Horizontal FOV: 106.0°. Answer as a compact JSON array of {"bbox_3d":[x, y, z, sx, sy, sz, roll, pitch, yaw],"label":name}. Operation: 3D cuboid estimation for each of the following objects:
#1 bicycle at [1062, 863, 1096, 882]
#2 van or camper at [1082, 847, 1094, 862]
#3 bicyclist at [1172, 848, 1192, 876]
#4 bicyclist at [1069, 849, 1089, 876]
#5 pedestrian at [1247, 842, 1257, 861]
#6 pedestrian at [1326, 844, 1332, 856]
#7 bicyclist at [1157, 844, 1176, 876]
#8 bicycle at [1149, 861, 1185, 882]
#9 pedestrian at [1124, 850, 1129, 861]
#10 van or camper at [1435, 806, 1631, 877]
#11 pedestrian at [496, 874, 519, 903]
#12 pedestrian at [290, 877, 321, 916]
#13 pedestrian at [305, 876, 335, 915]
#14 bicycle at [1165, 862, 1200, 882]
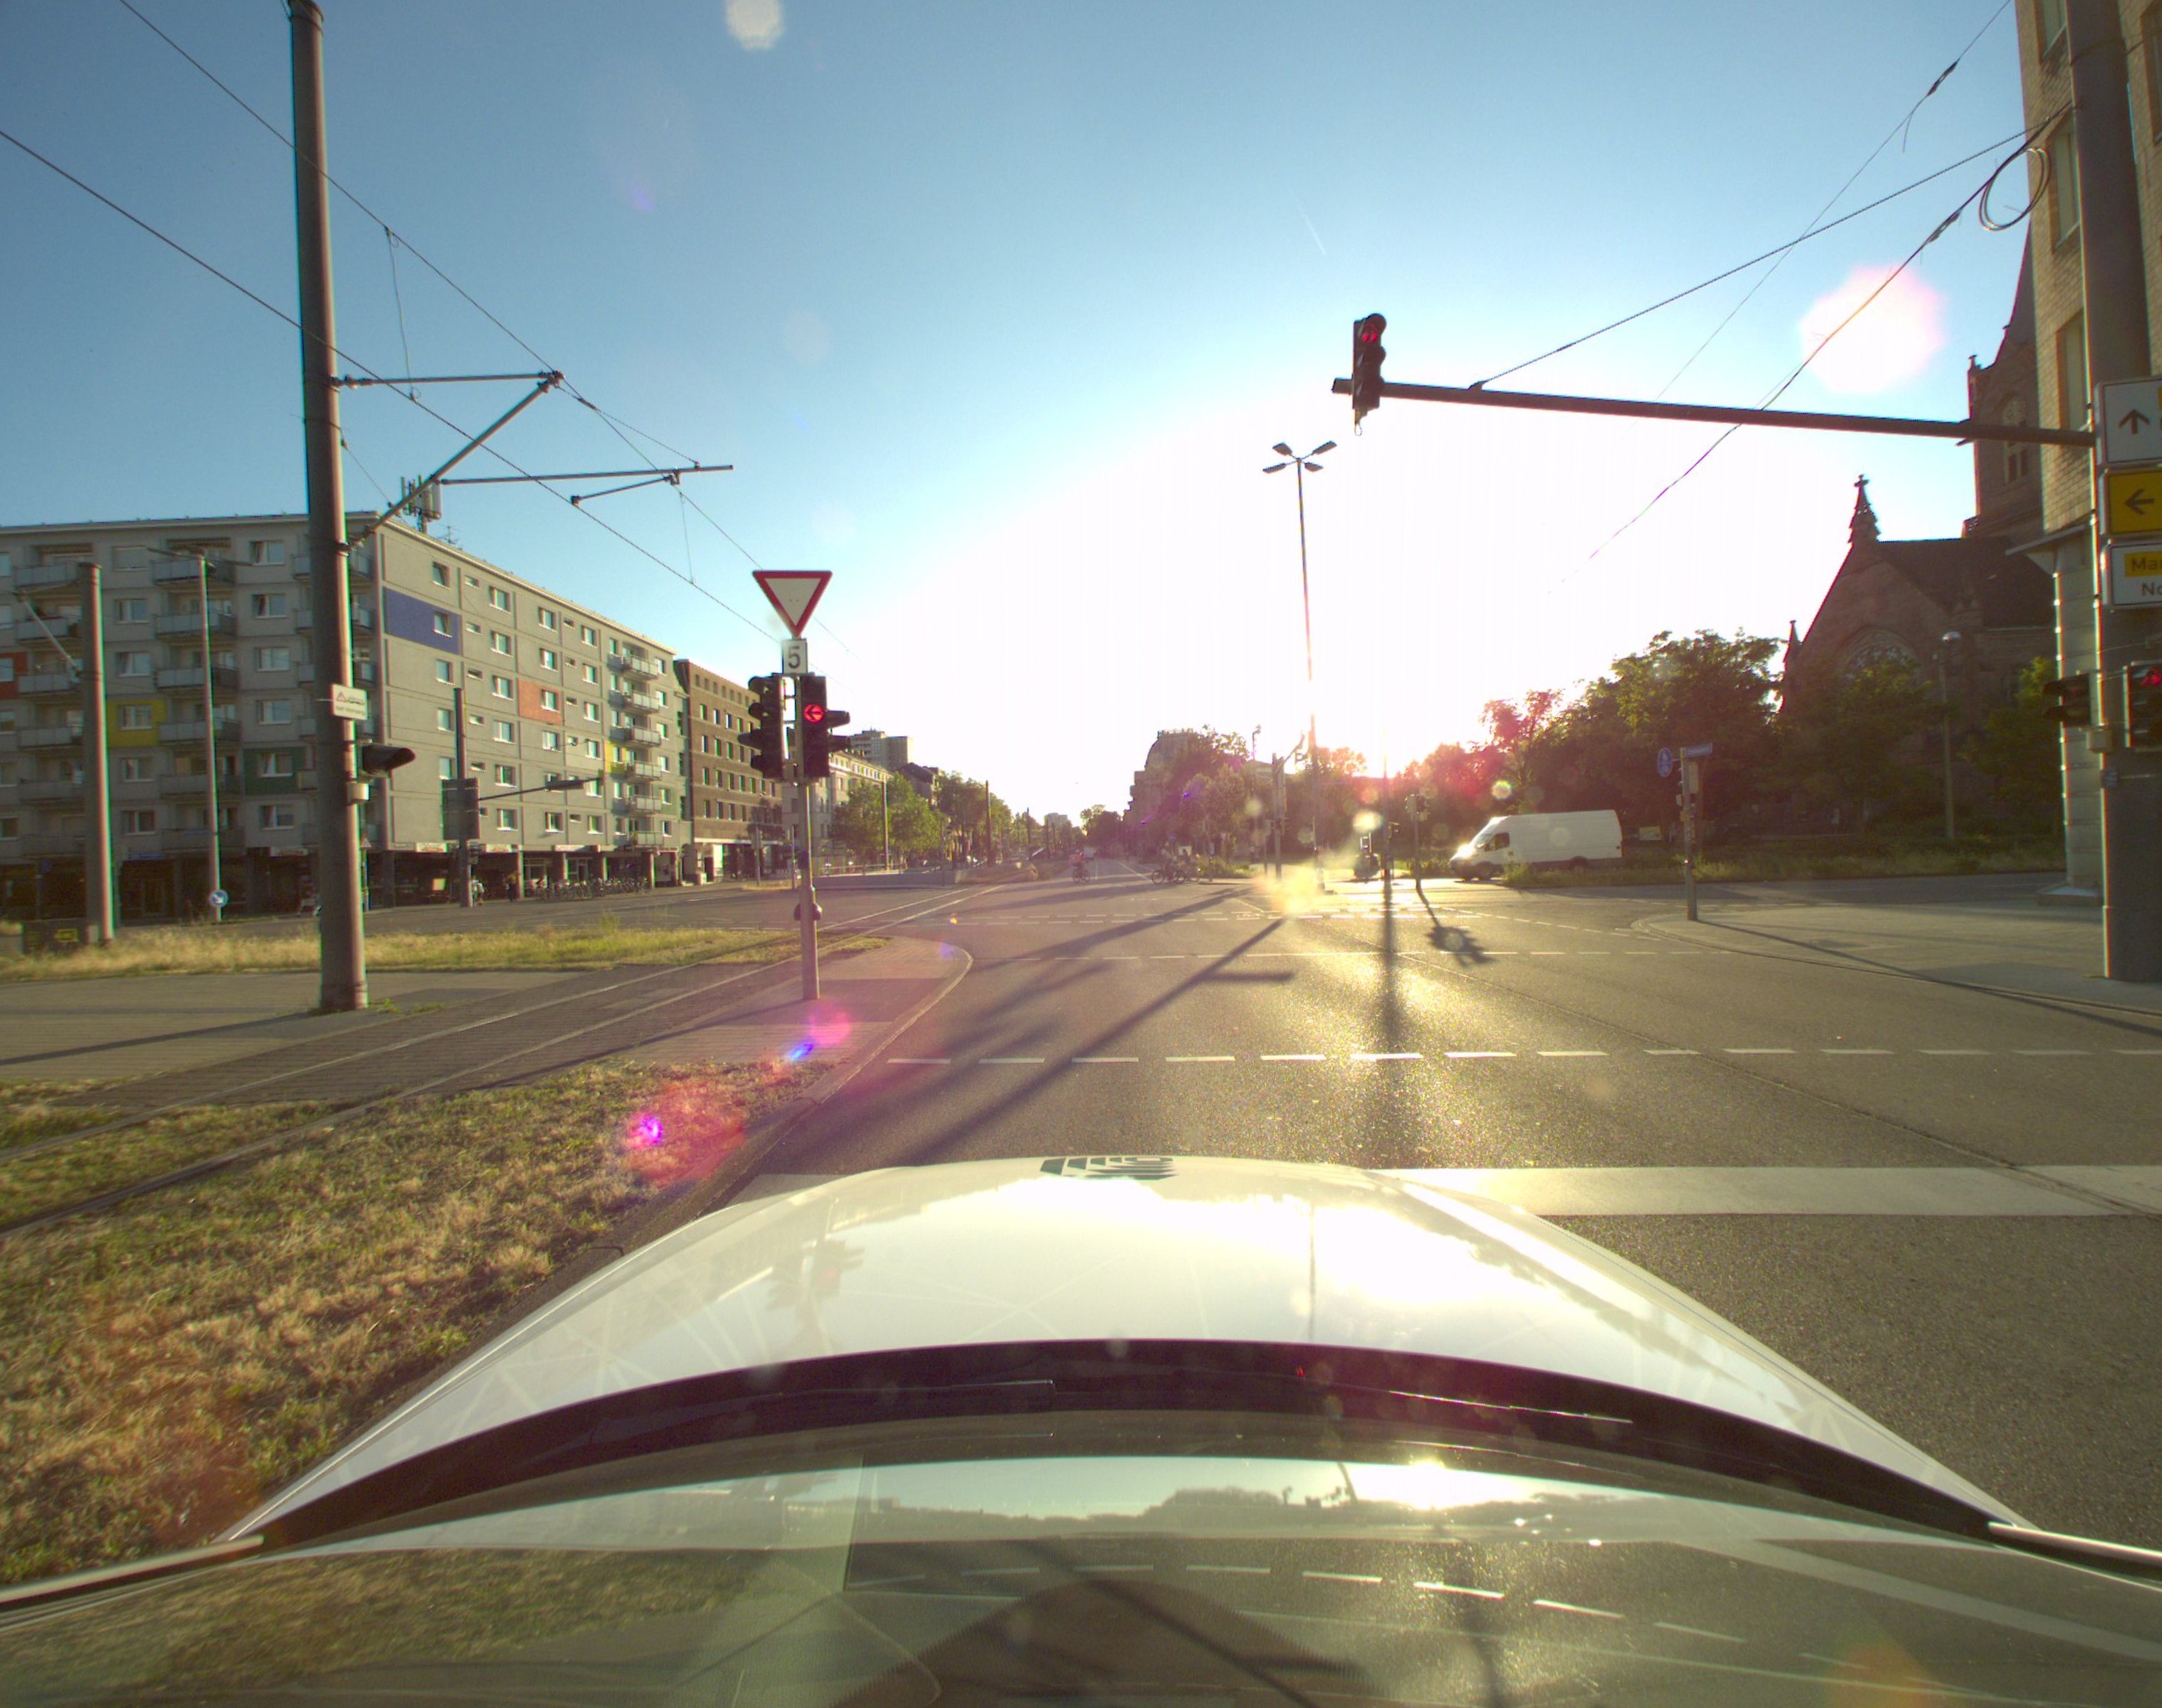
[{"bbox_3d":[-0.097,0.963,43.605,1.739,0.970,0.697,0,2,-31],"label":"bicycle"},{"bbox_3d":[1.360,0.024,156.228,2.254,2.624,4.505,-2,1,2],"label":"van or camper"},{"bbox_3d":[5.351,0.429,43.136,0.852,1.442,0.662,-3,1,-7],"label":"bicyclist"},{"bbox_3d":[-0.088,0.441,43.608,0.859,1.442,0.657,-1,1,-30],"label":"bicyclist"},{"bbox_3d":[15.009,-0.201,71.591,0.679,1.611,0.613,-2,1,1],"label":"pedestrian"},{"bbox_3d":[36.099,-0.593,118.380,0.791,1.701,0.803,-2,0,16],"label":"pedestrian"},{"bbox_3d":[4.293,0.279,40.837,0.797,1.571,0.662,-3,1,-7],"label":"bicyclist"},{"bbox_3d":[4.303,0.875,40.847,1.727,0.970,0.608,-2,1,-7],"label":"bicycle"},{"bbox_3d":[6.348,0.231,113.239,0.613,1.475,0.801,-2,1,5],"label":"pedestrian"},{"bbox_3d":[19.475,-0.541,35.413,7.013,2.674,2.601,-2,1,3],"label":"van or camper"},{"bbox_3d":[-34.479,2.054,48.956,0.732,1.669,0.787,-2,1,24],"label":"pedestrian"},{"bbox_3d":[-38.295,2.086,40.227,0.702,1.851,0.737,-2,1,1],"label":"pedestrian"},{"bbox_3d":[-37.543,2.050,40.193,0.600,1.847,0.822,-2,1,1],"label":"pedestrian"},{"bbox_3d":[5.388,0.935,43.142,1.716,0.970,0.608,-2,1,-7],"label":"bicycle"}]
